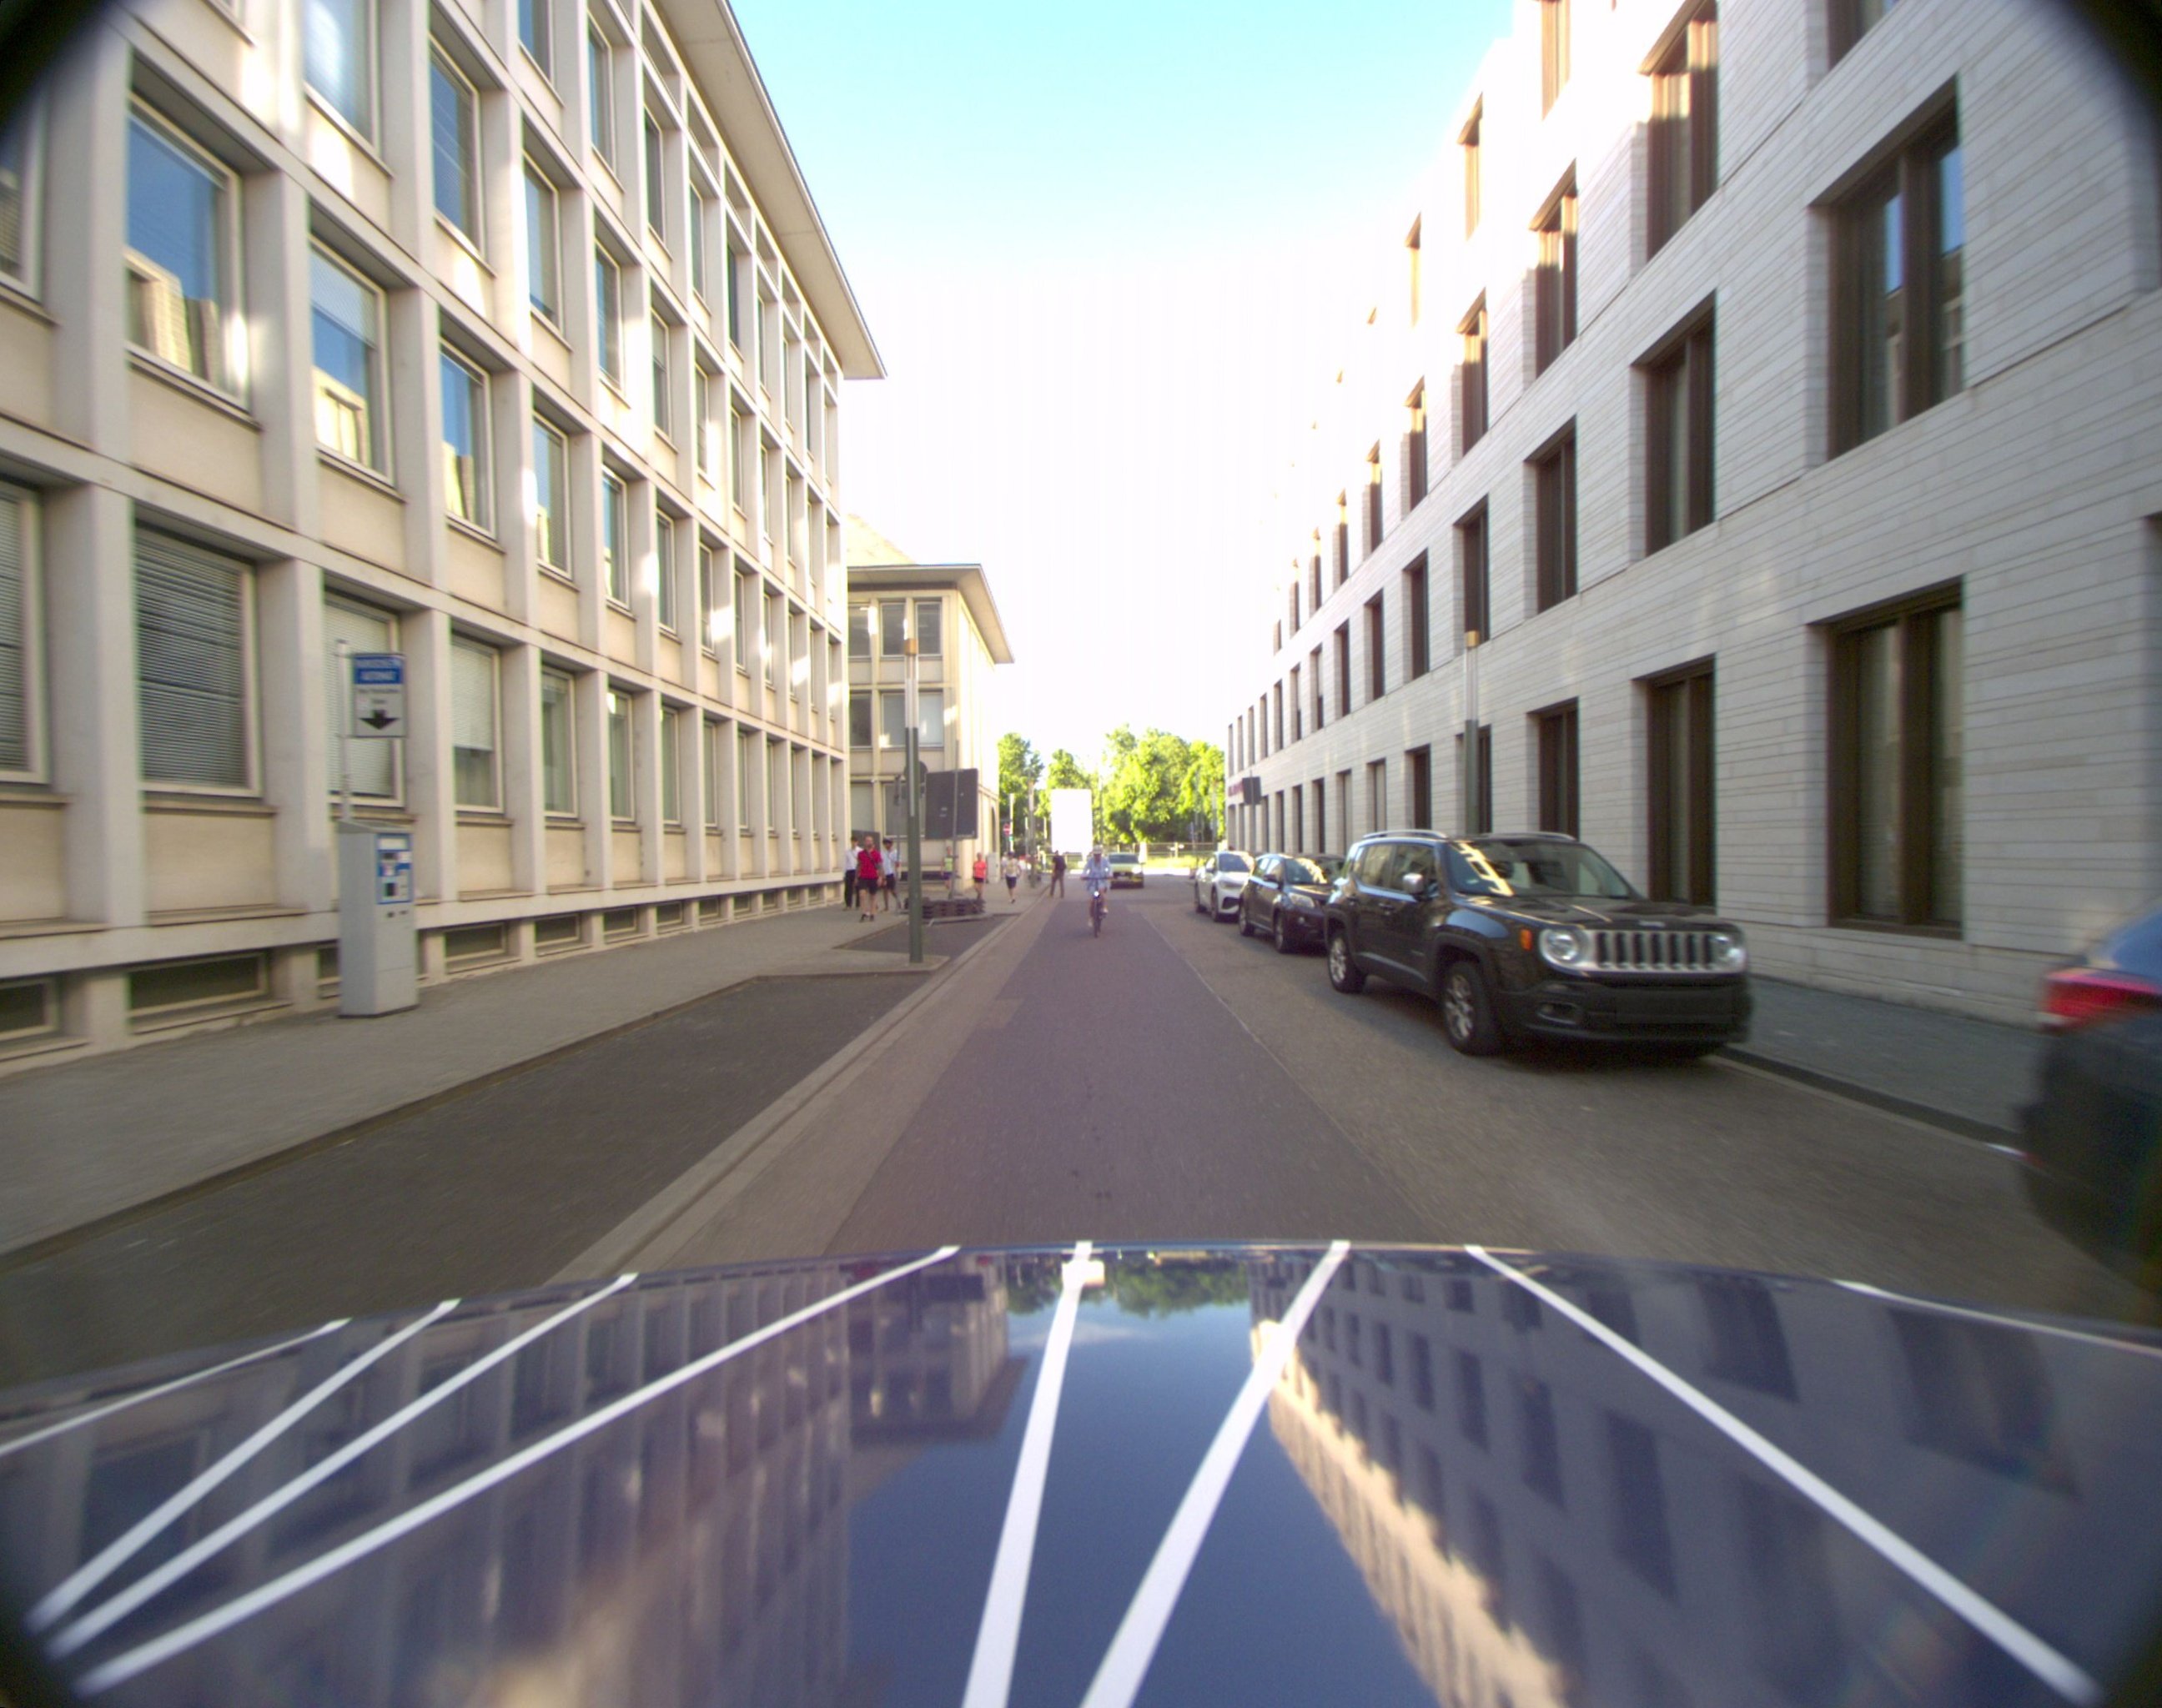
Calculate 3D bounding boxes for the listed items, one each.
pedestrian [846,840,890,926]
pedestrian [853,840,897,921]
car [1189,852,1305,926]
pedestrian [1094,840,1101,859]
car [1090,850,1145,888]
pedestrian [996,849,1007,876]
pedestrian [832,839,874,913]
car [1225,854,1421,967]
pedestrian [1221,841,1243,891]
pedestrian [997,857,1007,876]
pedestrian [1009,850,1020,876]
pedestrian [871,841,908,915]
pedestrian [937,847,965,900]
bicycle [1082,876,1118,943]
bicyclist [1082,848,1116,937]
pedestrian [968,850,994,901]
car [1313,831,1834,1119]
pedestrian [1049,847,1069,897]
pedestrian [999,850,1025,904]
[{"bbox_3d":[-4.506,0.597,16.096,0.684,1.768,0.593,3,1,2],"label":"pedestrian"},{"bbox_3d":[-4.720,0.603,17.450,0.684,1.768,0.693,5,1,2],"label":"pedestrian"},{"bbox_3d":[3.784,0.729,18.085,1.827,1.532,4.446,0,0,1],"label":"car"},{"bbox_3d":[1.558,-0.465,71.405,0.623,1.773,0.626,-2,2,-5],"label":"pedestrian"},{"bbox_3d":[1.531,0.594,33.573,1.999,1.451,4.434,-2,1,-2],"label":"car"},{"bbox_3d":[-4.877,0.546,46.813,0.626,1.633,0.623,-2,2,-5],"label":"pedestrian"},{"bbox_3d":[-5.687,0.536,18.959,0.684,1.768,0.693,5,1,2],"label":"pedestrian"},{"bbox_3d":[3.766,0.784,12.673,1.827,1.532,4.263,-1,0,-1],"label":"car"},{"bbox_3d":[5.593,0.429,28.187,0.645,1.780,0.816,-2,2,1],"label":"pedestrian"},{"bbox_3d":[-4.929,0.774,47.474,0.535,1.170,0.623,-2,2,-5],"label":"pedestrian"},{"bbox_3d":[-4.161,0.554,47.215,0.626,1.605,0.623,-2,2,-5],"label":"pedestrian"},{"bbox_3d":[-4.715,0.586,18.745,0.684,1.768,0.693,1,1,2],"label":"pedestrian"},{"bbox_3d":[-4.269,0.632,25.016,0.684,1.706,0.693,3,1,2],"label":"pedestrian"},{"bbox_3d":[0.339,1.023,14.716,0.595,1.077,2.310,-2,1,0],"label":"bicycle"},{"bbox_3d":[0.345,0.737,14.736,0.586,1.679,0.538,-2,2,-1],"label":"bicyclist"},{"bbox_3d":[-3.279,0.693,24.893,0.684,1.627,0.693,2,1,2],"label":"pedestrian"},{"bbox_3d":[3.579,0.730,6.581,1.827,1.704,4.017,1,0,-1],"label":"car"},{"bbox_3d":[-0.791,0.636,27.647,0.643,1.780,0.575,2,2,1],"label":"pedestrian"},{"bbox_3d":[-2.246,0.727,24.830,0.684,1.706,0.693,3,1,2],"label":"pedestrian"}]
